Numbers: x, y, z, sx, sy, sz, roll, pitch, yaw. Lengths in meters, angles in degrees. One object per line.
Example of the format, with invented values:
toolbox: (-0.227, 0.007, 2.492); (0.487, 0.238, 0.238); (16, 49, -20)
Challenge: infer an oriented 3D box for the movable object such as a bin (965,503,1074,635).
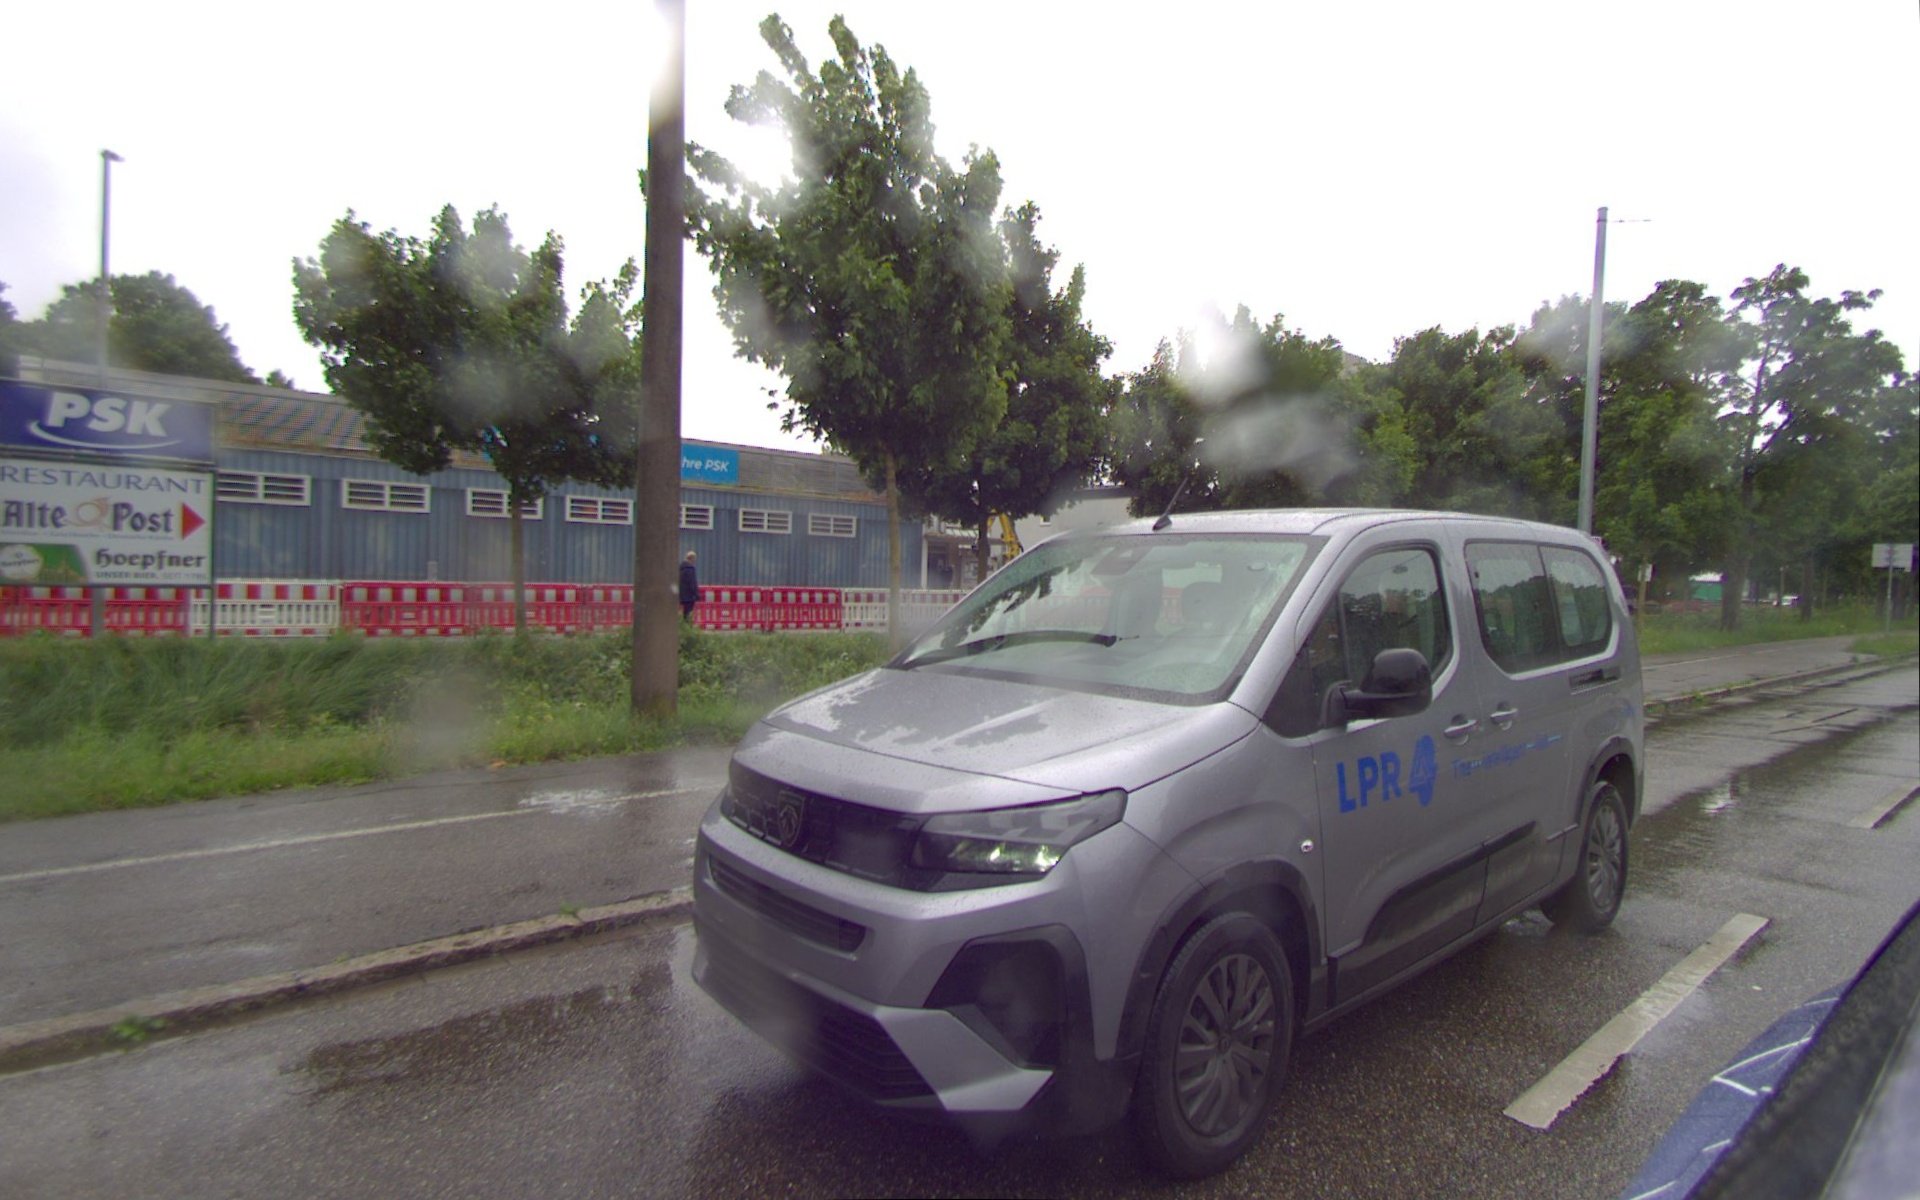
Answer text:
movable object such as a bin: (2.148, -1.062, 36.083); (3.839, 4.482, 1.557); (0, 0, -40)

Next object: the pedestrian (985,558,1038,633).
pedestrian: (1.389, -0.118, 27.311); (1.192, 1.960, 0.814); (0, 0, -42)

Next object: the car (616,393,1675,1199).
car: (1.152, 0.491, 4.192); (4.483, 1.818, 1.997); (0, 1, -42)

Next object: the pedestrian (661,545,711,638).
pedestrian: (-5.782, -0.174, 21.360); (0.861, 1.920, 0.580); (0, 0, -42)

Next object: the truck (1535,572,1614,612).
truck: (47.121, -0.633, 77.481); (8.600, 2.935, 2.808); (-1, 0, -42)
